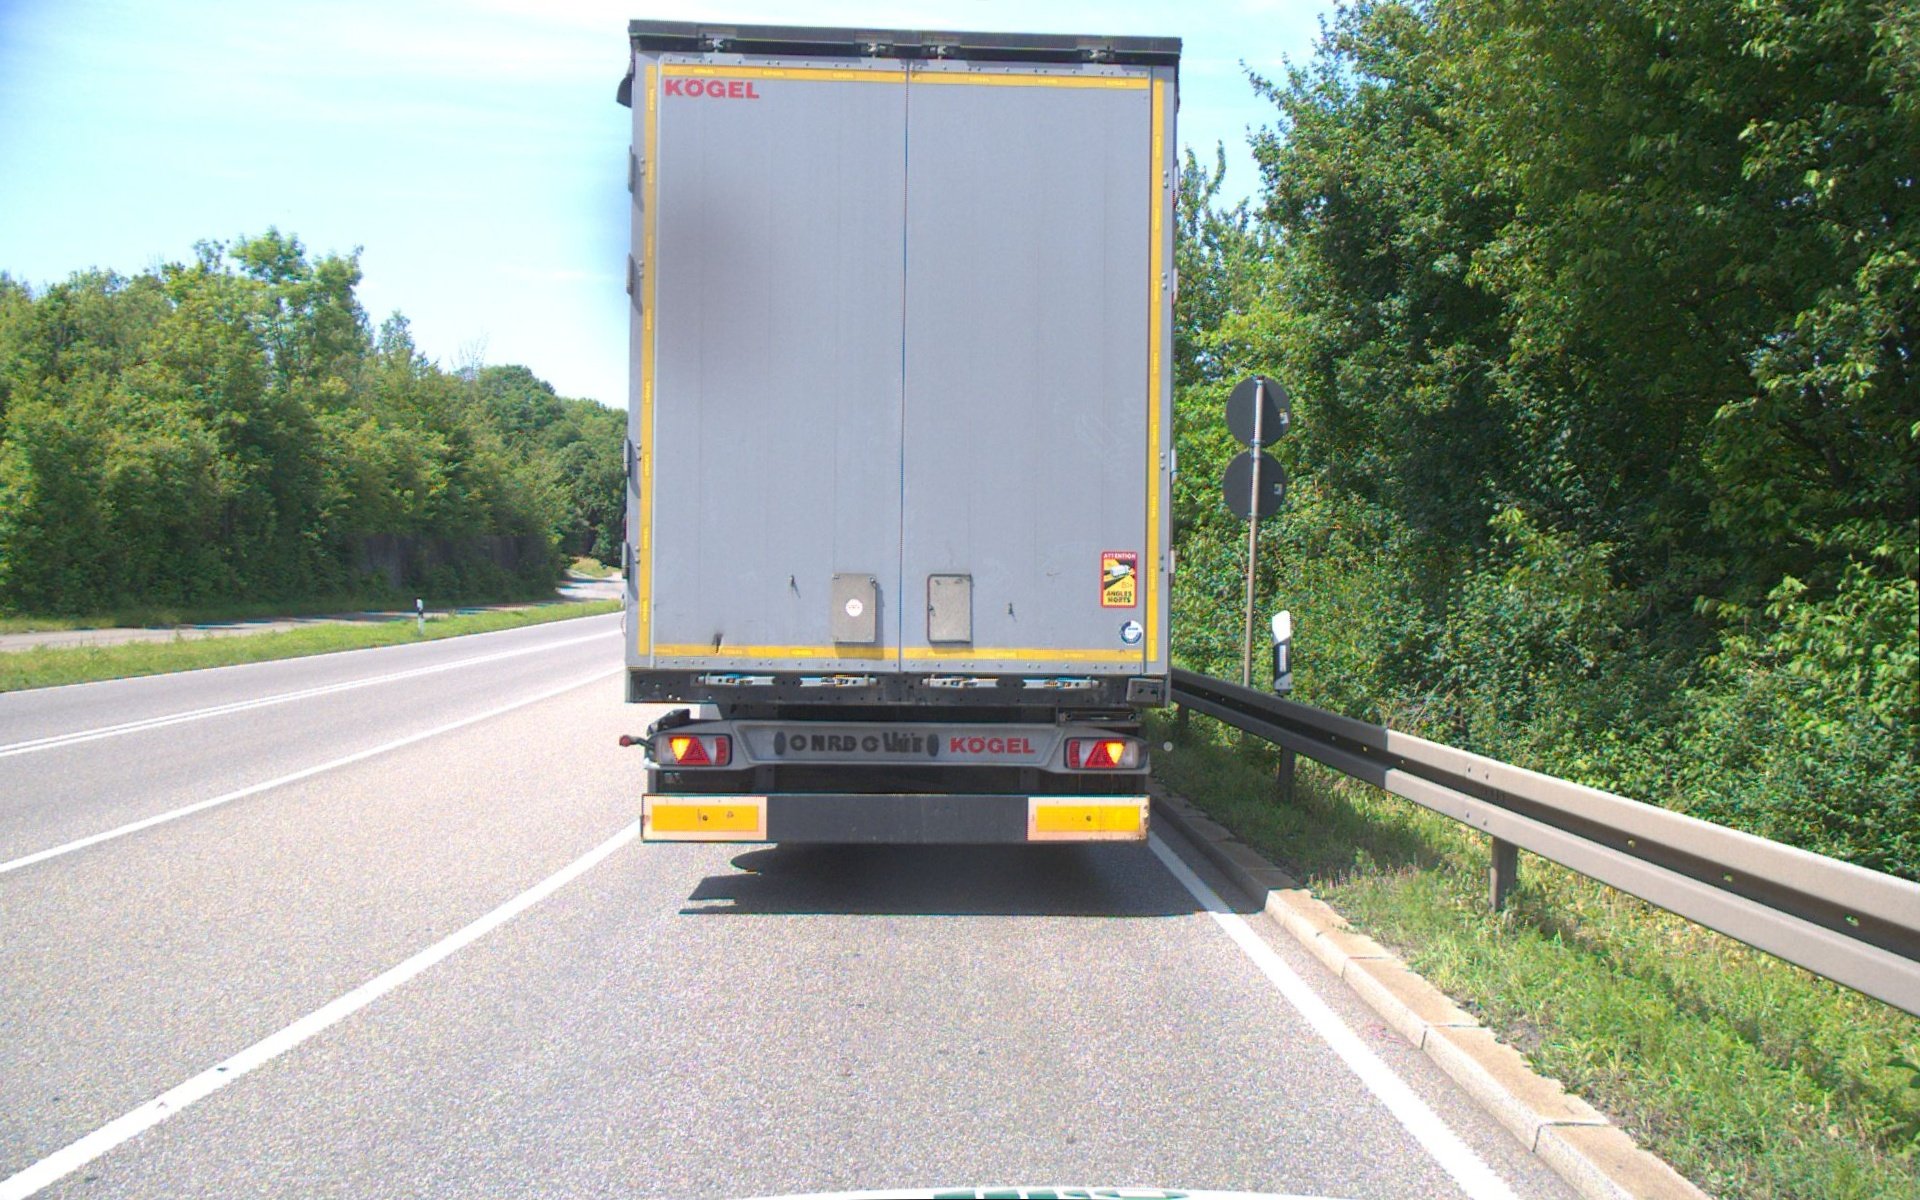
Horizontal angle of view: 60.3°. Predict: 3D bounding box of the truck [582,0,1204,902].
[{"bbox_3d":[-0.442,-0.768,13.261,2.701,4.100,11.920,1,0,-2],"label":"truck"}]
